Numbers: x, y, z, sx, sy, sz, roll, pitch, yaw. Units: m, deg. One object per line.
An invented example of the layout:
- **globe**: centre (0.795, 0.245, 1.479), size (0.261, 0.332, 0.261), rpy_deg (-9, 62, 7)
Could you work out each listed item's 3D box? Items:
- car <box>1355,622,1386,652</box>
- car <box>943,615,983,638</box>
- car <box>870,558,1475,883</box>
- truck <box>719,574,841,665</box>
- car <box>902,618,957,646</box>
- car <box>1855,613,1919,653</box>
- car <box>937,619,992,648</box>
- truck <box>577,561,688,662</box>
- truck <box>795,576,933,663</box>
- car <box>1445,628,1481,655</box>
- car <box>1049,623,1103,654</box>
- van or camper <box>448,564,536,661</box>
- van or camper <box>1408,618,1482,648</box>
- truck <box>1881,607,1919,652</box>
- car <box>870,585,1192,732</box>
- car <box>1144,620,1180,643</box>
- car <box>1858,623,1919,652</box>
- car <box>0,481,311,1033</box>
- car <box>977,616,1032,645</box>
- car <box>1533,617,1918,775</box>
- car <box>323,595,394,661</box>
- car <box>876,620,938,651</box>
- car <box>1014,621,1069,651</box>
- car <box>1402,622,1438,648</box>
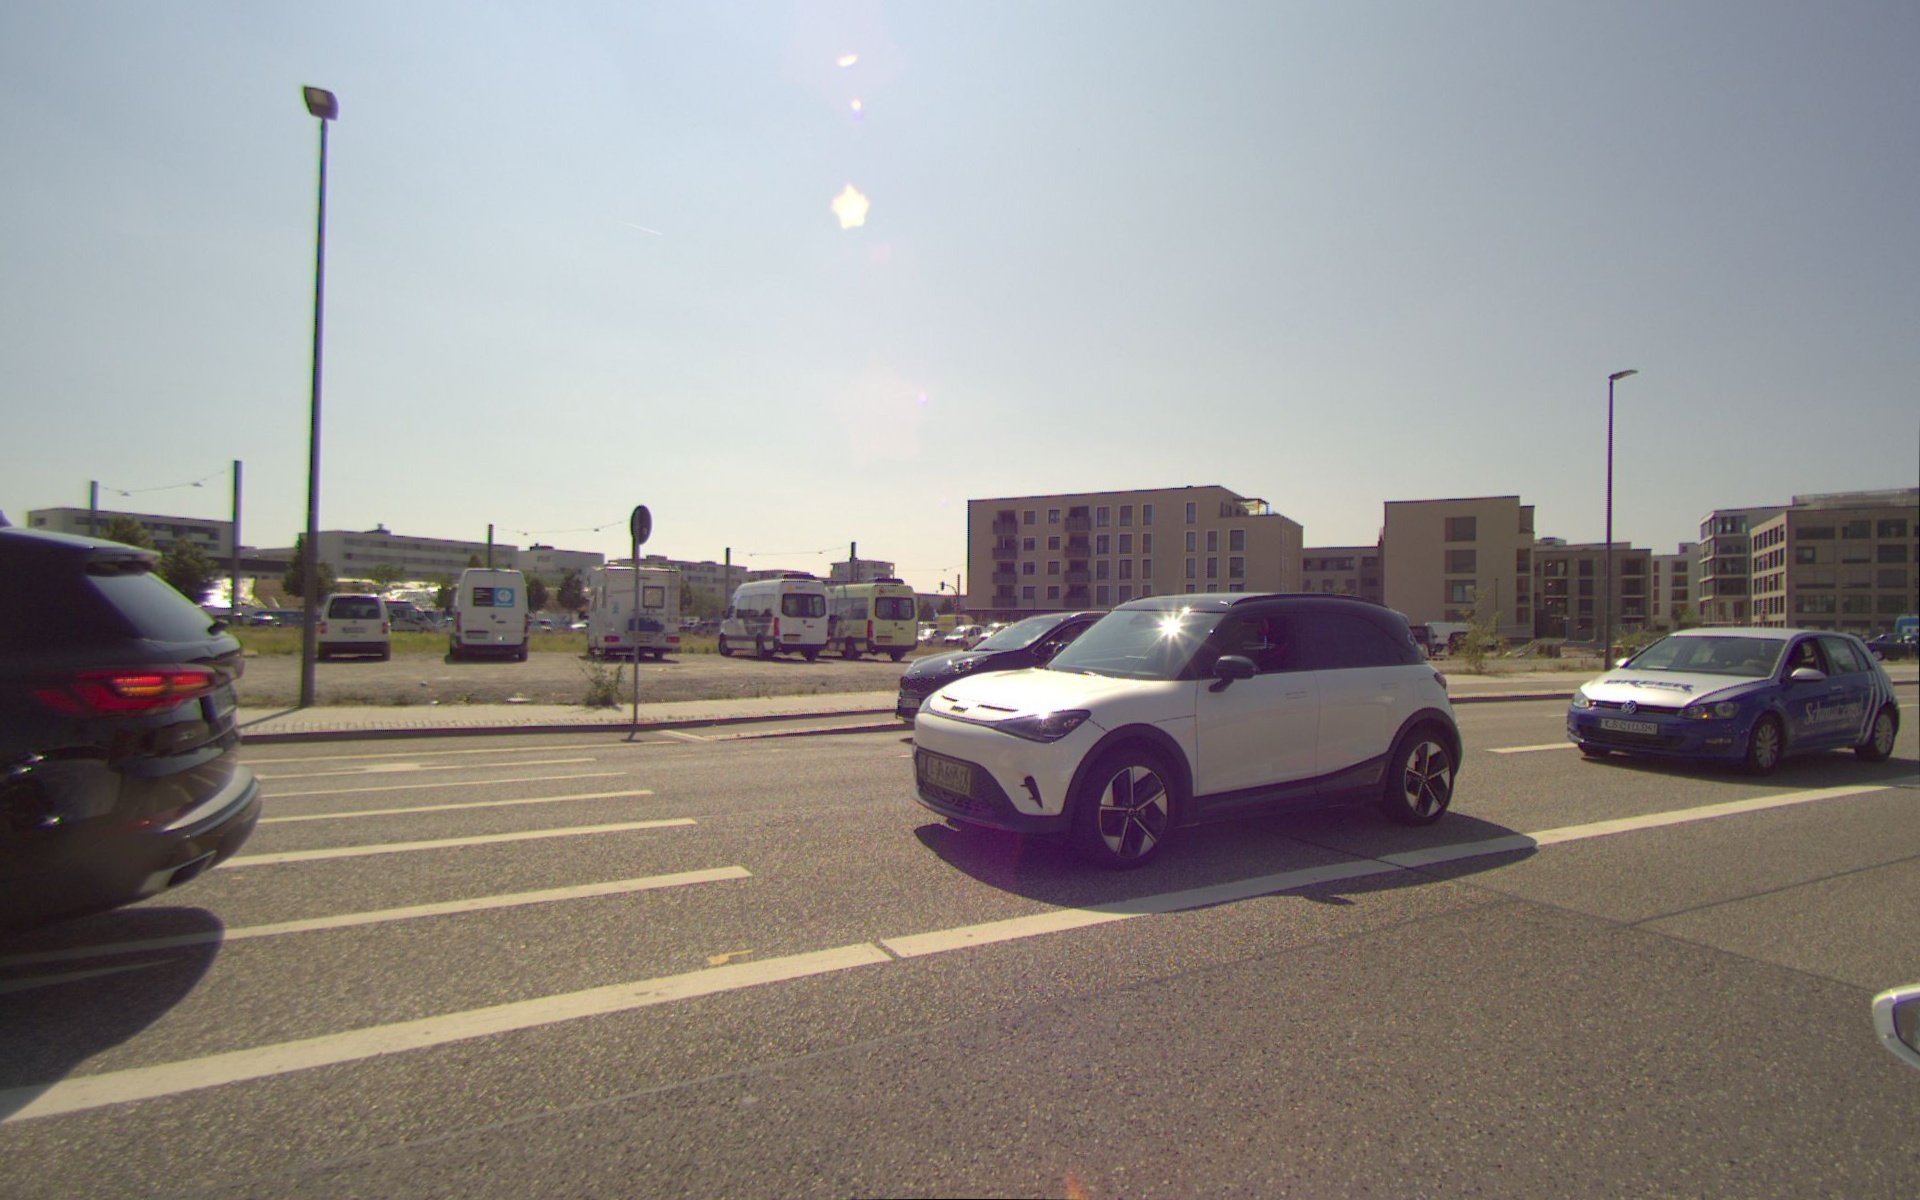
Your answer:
- **car**: centre (33.103, 2.918, 80.960), size (1.963, 2.270, 3.995), rpy_deg (1, 0, 27)
- **car**: centre (0.307, 2.349, 89.733), size (1.963, 2.040, 3.995), rpy_deg (0, -2, 28)
- **car**: centre (1.579, 0.664, 7.076), size (4.051, 1.704, 1.770), rpy_deg (1, 0, -30)
- **truck**: centre (-6.377, 0.600, 34.907), size (2.537, 2.862, 5.814), rpy_deg (3, 0, -26)
- **car**: centre (-2.204, 2.334, 74.074), size (1.964, 1.996, 4.646), rpy_deg (0, -2, 30)
- **car**: centre (48.541, 1.704, 51.183), size (1.800, 1.929, 3.981), rpy_deg (2, 0, -20)
- **car**: centre (0.374, 2.445, 73.007), size (1.964, 1.996, 4.646), rpy_deg (0, -2, 30)
- **truck**: centre (-10.953, 0.320, 33.214), size (2.537, 2.939, 6.123), rpy_deg (3, 0, -26)
- **truck**: centre (-3.673, 0.636, 36.723), size (2.571, 2.863, 6.607), rpy_deg (2, 0, -28)
- **car**: centre (37.840, 3.086, 75.555), size (1.966, 1.873, 3.989), rpy_deg (1, 0, 33)
- **car**: centre (7.800, 2.563, 67.274), size (1.964, 2.040, 4.646), rpy_deg (0, -2, 30)
- **van or camper**: centre (-14.413, 0.365, 30.758), size (2.231, 2.697, 4.881), rpy_deg (1, 0, -27)
- **van or camper**: centre (43.084, 2.929, 89.361), size (5.814, 2.592, 1.935), rpy_deg (0, -2, 22)
- **truck**: centre (56.820, 1.742, 57.289), size (2.249, 2.577, 5.974), rpy_deg (2, -1, -30)
- **car**: centre (0.984, 0.799, 13.647), size (3.952, 1.728, 1.985), rpy_deg (2, -4, -30)
- **car**: centre (19.022, 2.946, 94.279), size (1.966, 2.040, 3.989), rpy_deg (1, 0, 33)
- **car**: centre (53.209, 2.108, 55.010), size (2.082, 1.494, 5.624), rpy_deg (2, 0, -29)
- **car**: centre (-5.007, 0.449, 3.342), size (4.599, 1.812, 1.931), rpy_deg (2, 0, -29)
- **car**: centre (3.210, 2.180, 71.131), size (1.964, 1.996, 4.646), rpy_deg (0, -2, 30)
- **car**: centre (8.514, 0.973, 11.121), size (4.228, 1.440, 1.779), rpy_deg (2, -1, -28)
- **car**: centre (-17.275, 0.753, 28.898), size (1.638, 1.782, 3.846), rpy_deg (1, 0, -31)
- **car**: centre (-3.884, 2.628, 74.810), size (1.964, 1.996, 5.387), rpy_deg (4, 2, 29)
- **car**: centre (5.681, 2.486, 69.351), size (1.964, 2.040, 4.646), rpy_deg (0, -2, 30)
- **car**: centre (35.459, 2.667, 77.389), size (1.966, 1.873, 3.989), rpy_deg (1, 0, 33)
